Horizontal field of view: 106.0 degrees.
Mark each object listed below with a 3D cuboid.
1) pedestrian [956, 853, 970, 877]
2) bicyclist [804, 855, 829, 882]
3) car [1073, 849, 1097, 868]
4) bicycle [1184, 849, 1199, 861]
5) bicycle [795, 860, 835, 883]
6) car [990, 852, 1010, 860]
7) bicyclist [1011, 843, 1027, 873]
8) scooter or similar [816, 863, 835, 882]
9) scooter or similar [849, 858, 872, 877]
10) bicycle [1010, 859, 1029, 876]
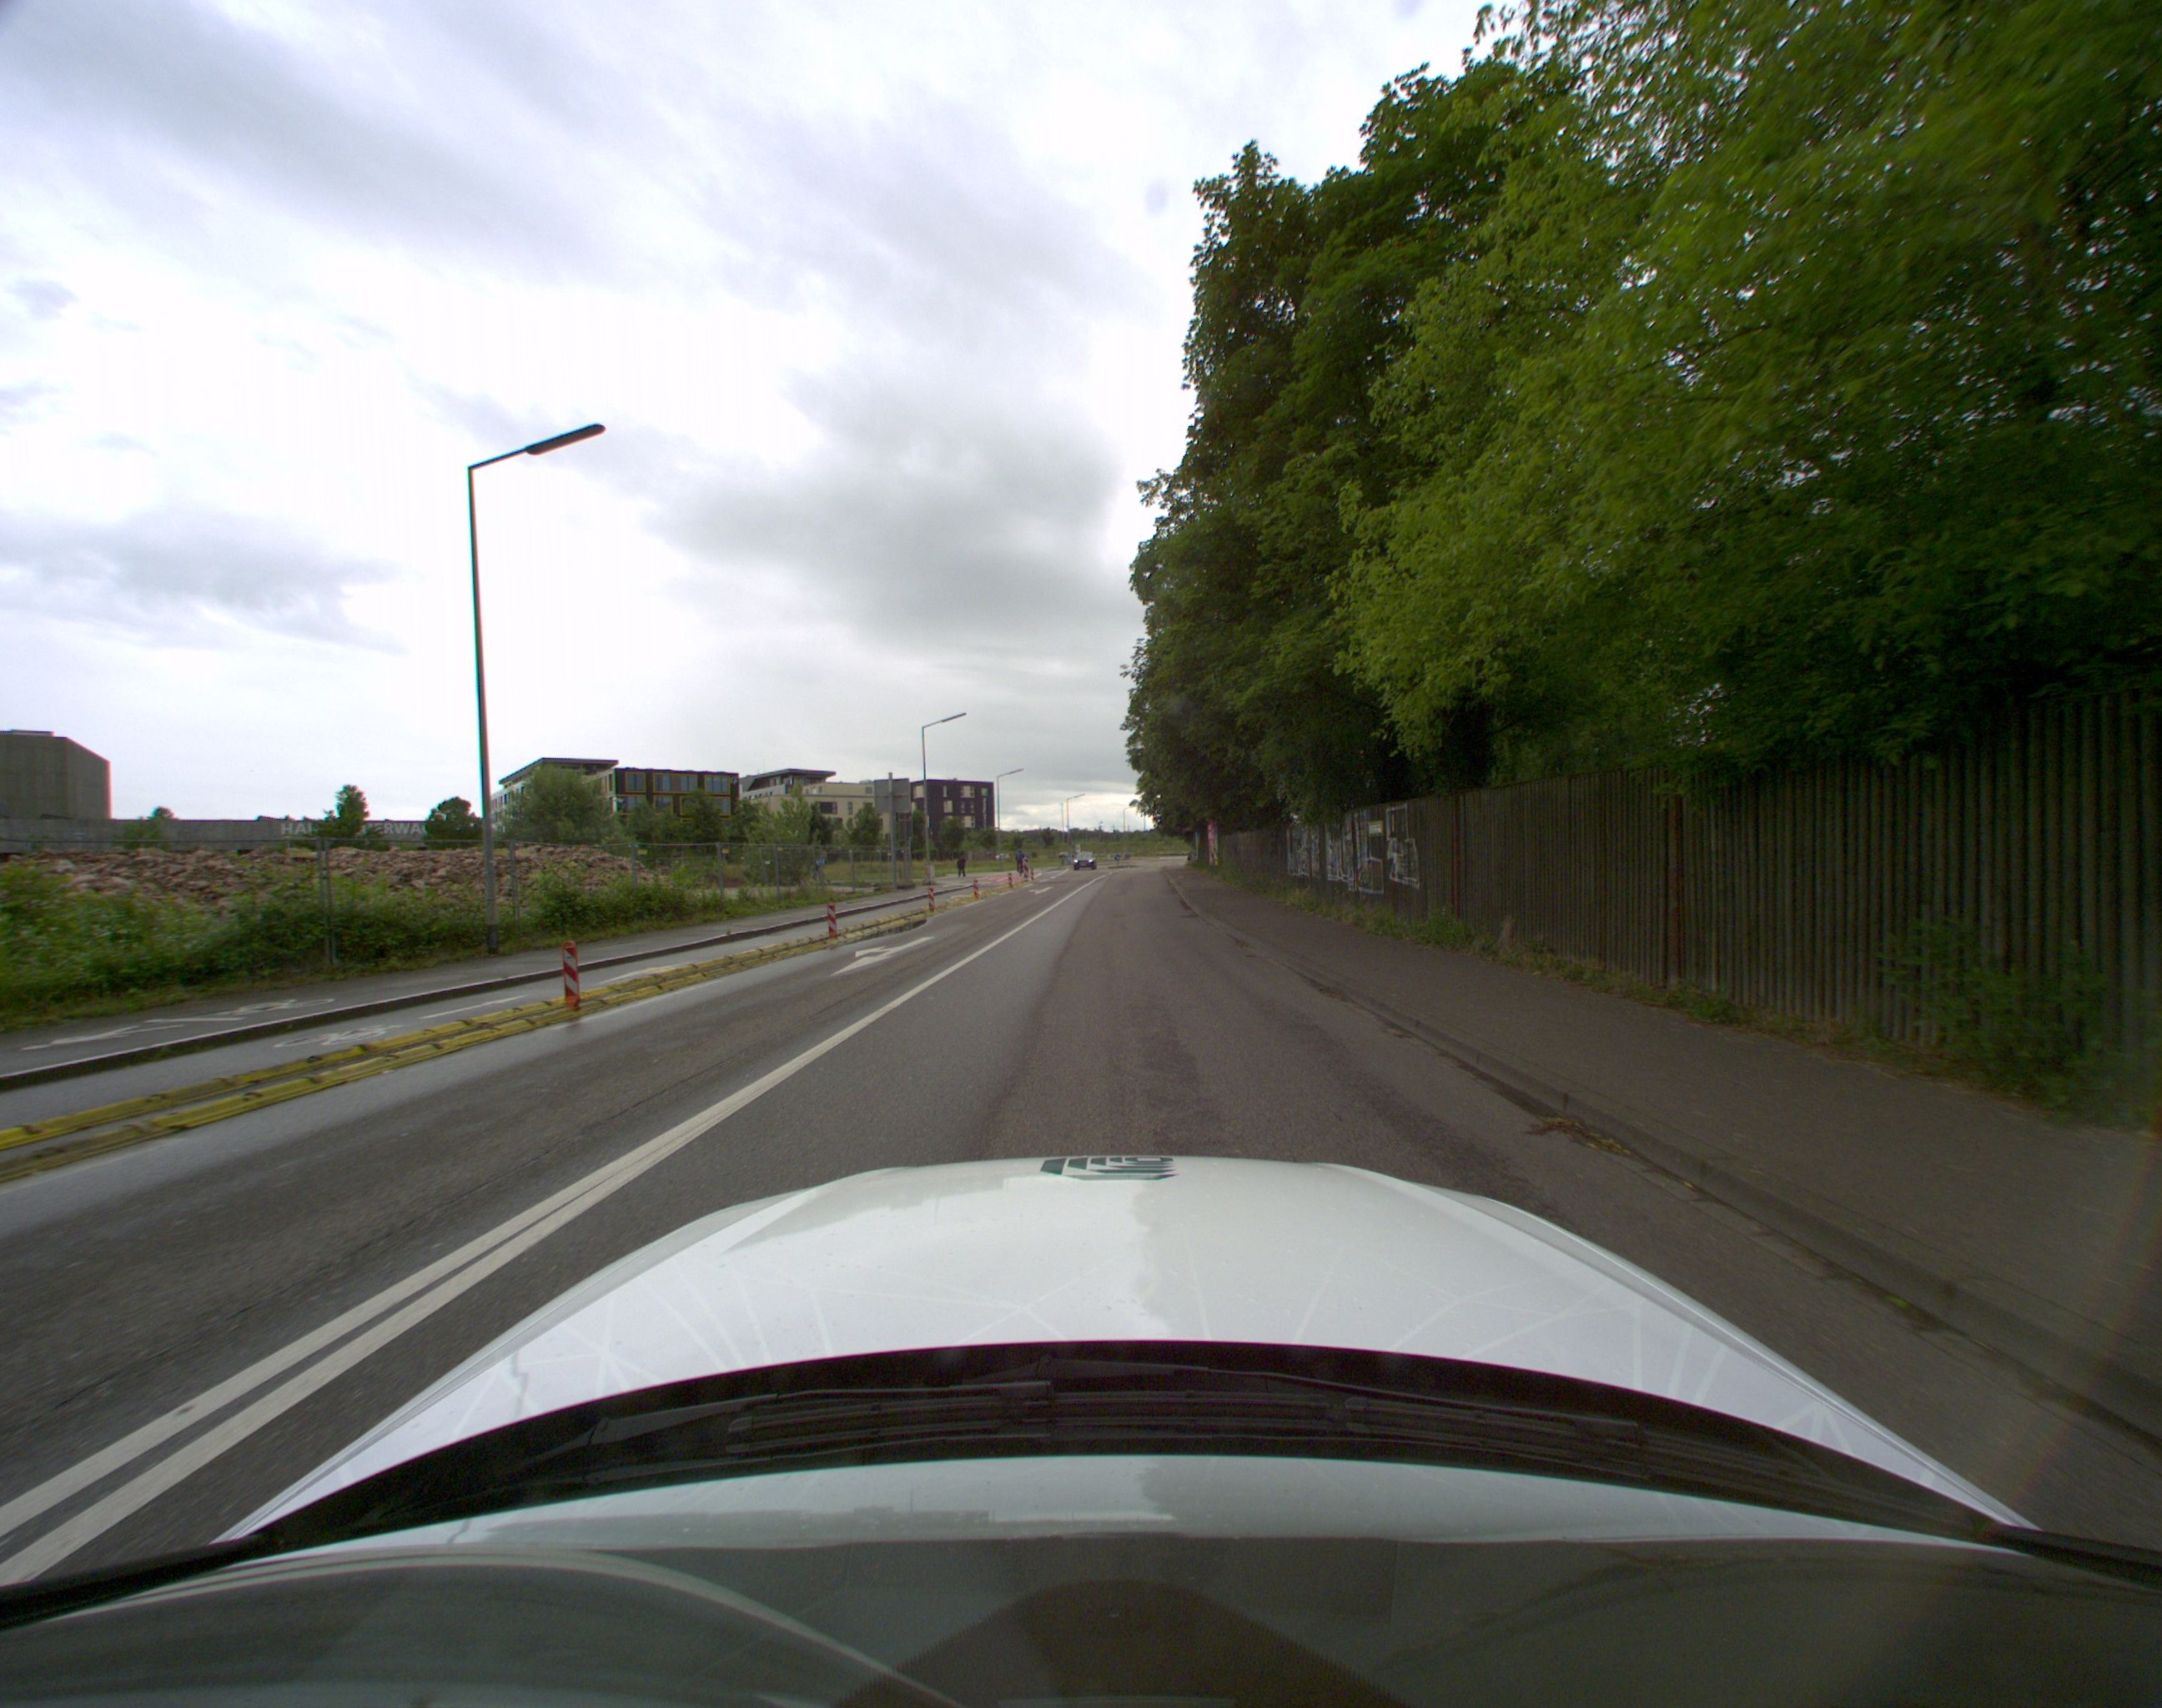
[{"bbox_3d":[-9.202,0.828,63.284,0.841,1.782,1.077,-2,1,1],"label":"pedestrian"},{"bbox_3d":[-19.547,1.070,60.159,1.393,1.899,1.077,-2,1,1],"label":"bicyclist"},{"bbox_3d":[0.406,0.373,73.847,1.872,1.566,4.363,-2,1,4],"label":"car"},{"bbox_3d":[10.759,0.124,79.541,0.788,1.111,1.964,-2,0,28],"label":"bicycle"},{"bbox_3d":[-19.632,1.298,60.147,2.483,1.584,1.087,-2,1,1],"label":"bicycle"},{"bbox_3d":[-18.053,0.489,182.207,1.974,1.517,4.180,-1,1,38],"label":"car"},{"bbox_3d":[-4.251,0.274,56.066,0.857,2.013,1.179,-2,1,4],"label":"bicyclist"},{"bbox_3d":[-16.221,1.177,51.727,1.321,1.142,0.414,-1,-1,35],"label":"scooter or similar"},{"bbox_3d":[-13.687,0.857,50.550,0.660,1.142,1.881,-1,0,-40],"label":"scooter or similar"},{"bbox_3d":[-4.211,0.935,56.108,0.880,1.052,2.472,-2,1,4],"label":"bicycle"}]
